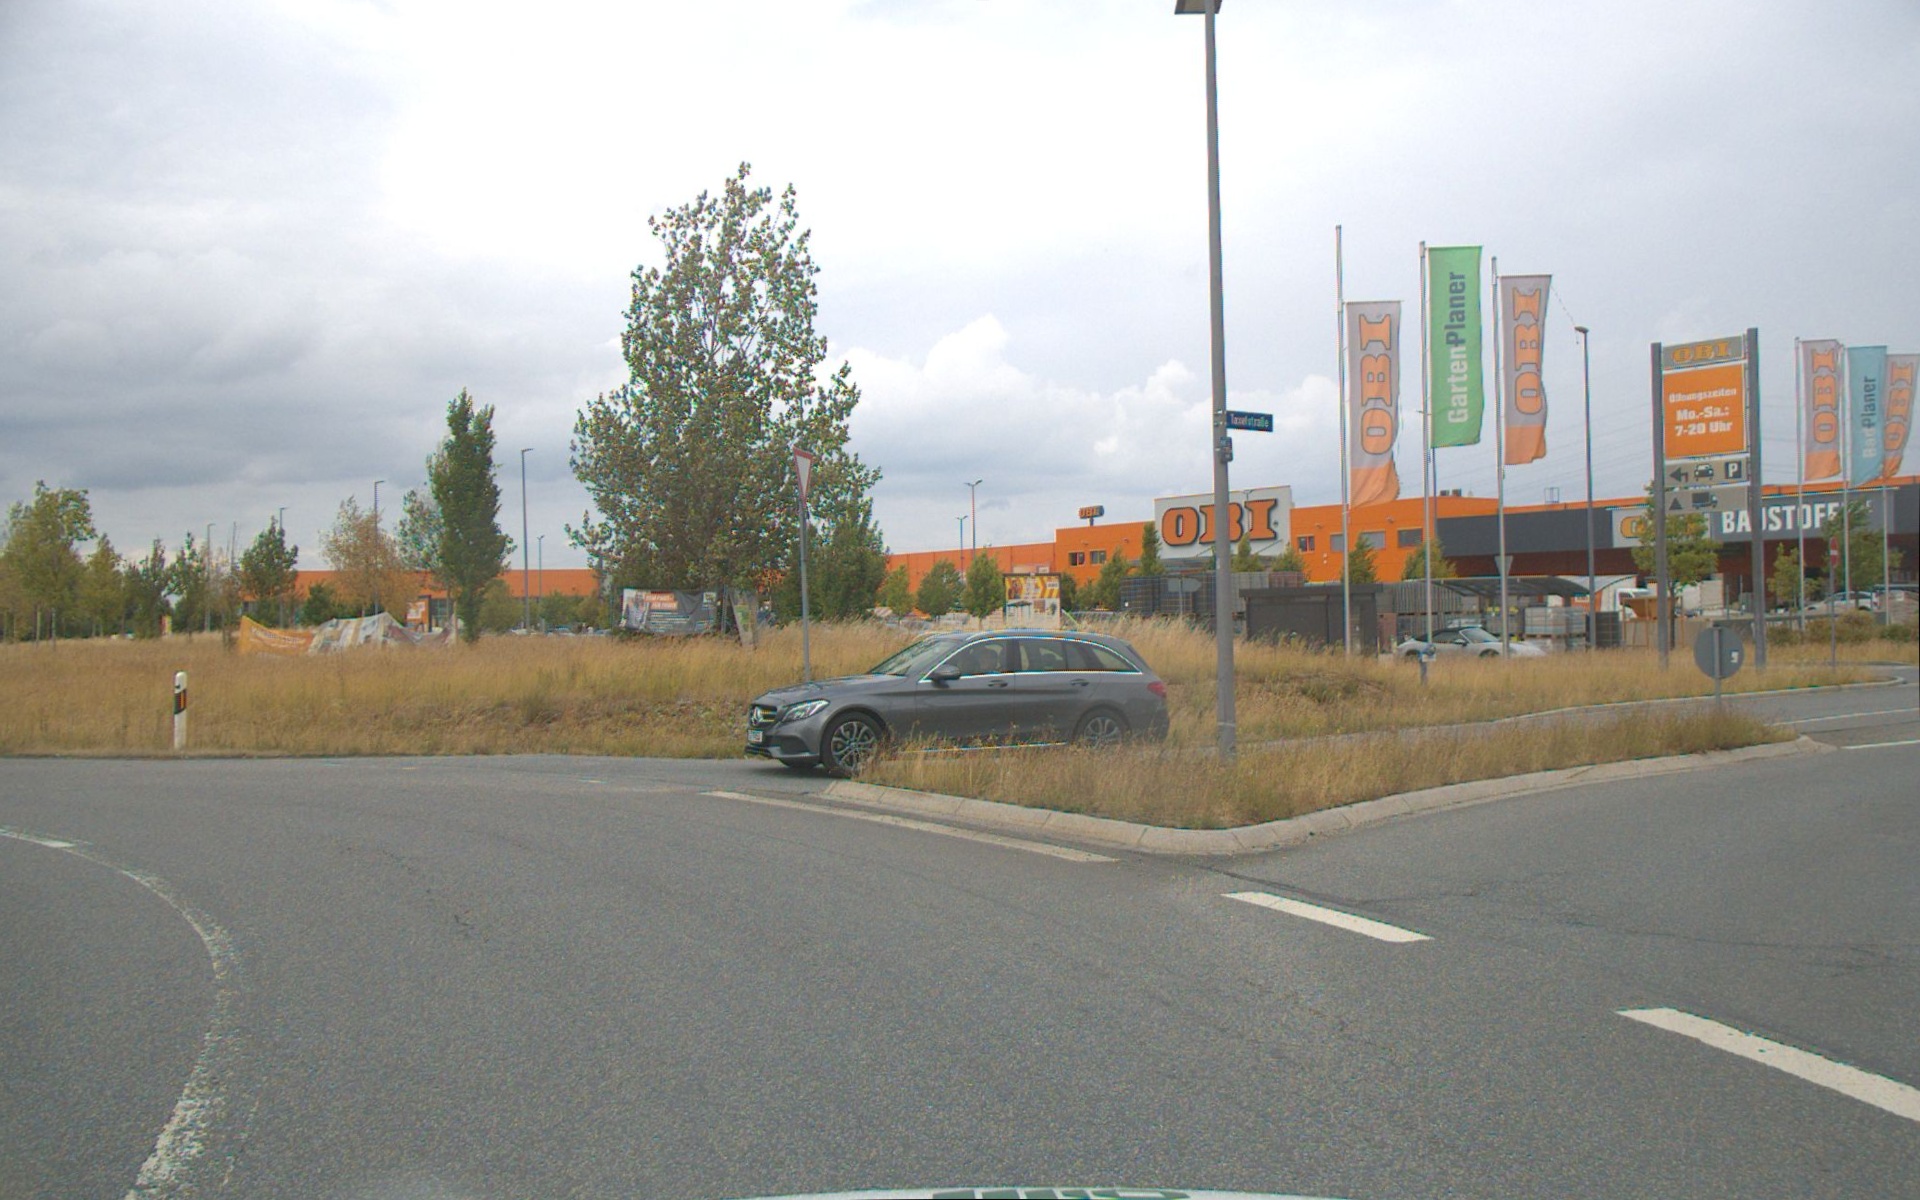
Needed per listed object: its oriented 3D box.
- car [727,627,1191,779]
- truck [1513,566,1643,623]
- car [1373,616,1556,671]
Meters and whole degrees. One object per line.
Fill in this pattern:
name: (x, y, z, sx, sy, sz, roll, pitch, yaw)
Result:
car: (0.020, 1.010, 17.599, 4.616, 1.428, 1.912, 1, -1, -27)
truck: (30.340, -0.239, 81.329, 2.419, 2.528, 5.466, 1, -3, -41)
car: (13.848, 1.162, 45.615, 1.727, 1.428, 4.689, 1, -1, -40)
